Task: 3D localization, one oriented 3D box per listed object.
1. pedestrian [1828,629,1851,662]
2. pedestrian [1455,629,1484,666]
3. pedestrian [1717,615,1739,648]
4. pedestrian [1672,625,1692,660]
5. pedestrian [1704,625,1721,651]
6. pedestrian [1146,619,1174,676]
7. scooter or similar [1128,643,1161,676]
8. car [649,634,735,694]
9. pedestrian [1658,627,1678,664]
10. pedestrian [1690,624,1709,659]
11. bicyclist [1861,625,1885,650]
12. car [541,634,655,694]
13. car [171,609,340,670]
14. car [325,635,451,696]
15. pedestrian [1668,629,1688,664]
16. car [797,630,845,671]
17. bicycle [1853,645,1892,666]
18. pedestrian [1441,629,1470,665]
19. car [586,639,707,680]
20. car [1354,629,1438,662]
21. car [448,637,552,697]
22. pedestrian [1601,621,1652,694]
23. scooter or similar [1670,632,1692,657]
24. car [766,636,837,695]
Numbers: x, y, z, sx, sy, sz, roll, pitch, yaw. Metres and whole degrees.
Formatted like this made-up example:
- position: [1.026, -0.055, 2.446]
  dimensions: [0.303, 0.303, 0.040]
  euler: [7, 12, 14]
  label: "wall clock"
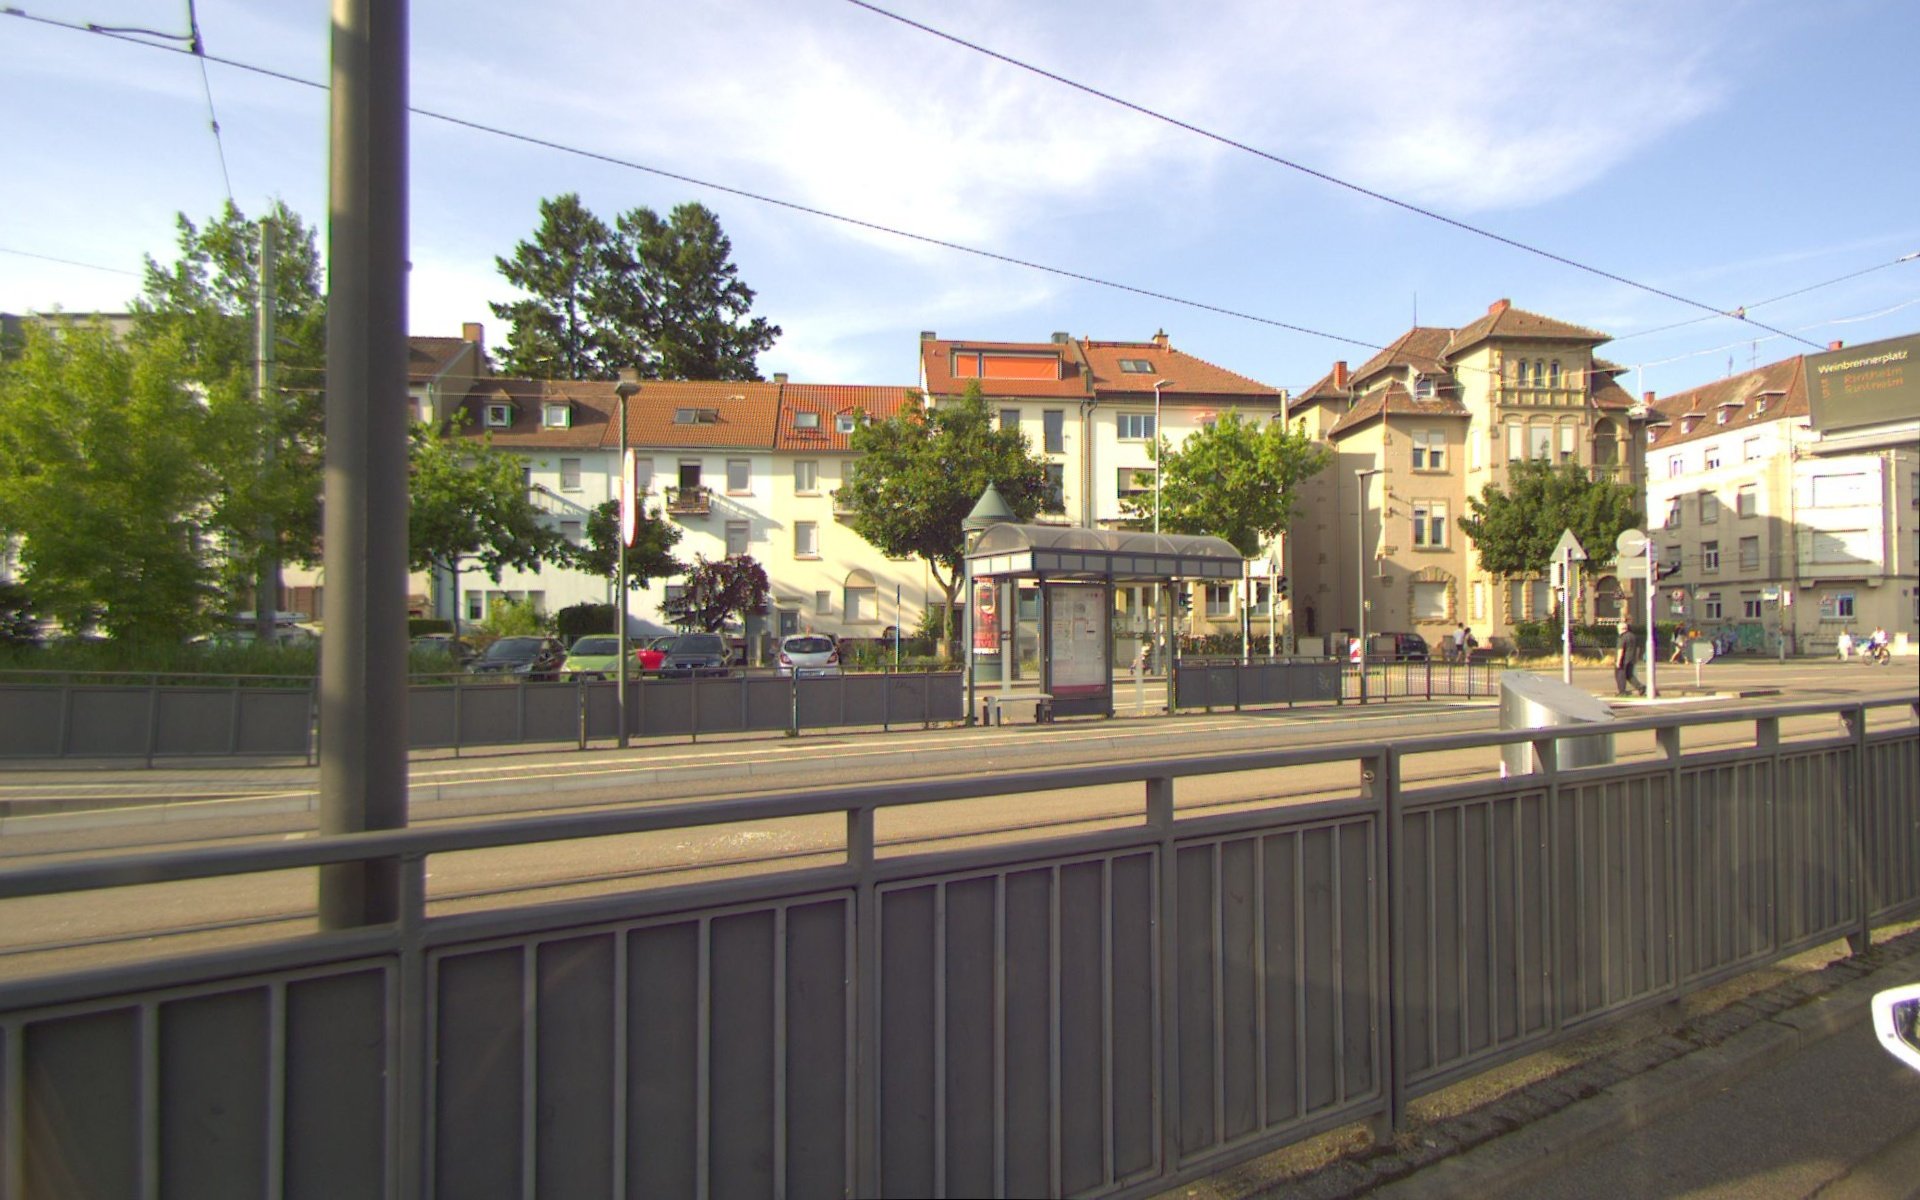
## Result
- position: [42.776, 2.210, 48.830]
  dimensions: [0.702, 1.561, 0.626]
  euler: [1, -2, -30]
  label: "pedestrian"
- position: [21.841, 2.034, 43.046]
  dimensions: [0.768, 1.572, 0.831]
  euler: [0, -2, -8]
  label: "pedestrian"
- position: [48.643, 1.997, 63.647]
  dimensions: [0.773, 2.040, 0.775]
  euler: [0, -2, -15]
  label: "pedestrian"
- position: [31.781, 1.875, 44.214]
  dimensions: [0.540, 1.520, 0.437]
  euler: [0, -2, -15]
  label: "pedestrian"
- position: [47.634, 2.411, 63.600]
  dimensions: [0.576, 1.682, 0.620]
  euler: [0, -2, -14]
  label: "pedestrian"
- position: [6.295, 1.503, 31.663]
  dimensions: [0.541, 1.769, 0.759]
  euler: [-2, -2, 42]
  label: "pedestrian"
- position: [5.699, 1.822, 30.988]
  dimensions: [0.550, 1.001, 1.018]
  euler: [-2, -2, 41]
  label: "scooter or similar"
- position: [-7.185, 1.679, 27.291]
  dimensions: [1.815, 1.505, 3.995]
  euler: [0, -2, -9]
  label: "car"
- position: [31.587, 2.026, 44.799]
  dimensions: [0.601, 1.647, 0.506]
  euler: [1, -2, -29]
  label: "pedestrian"
- position: [32.965, 1.848, 44.753]
  dimensions: [0.382, 1.520, 0.535]
  euler: [0, -2, -15]
  label: "pedestrian"
- position: [38.701, 1.603, 42.585]
  dimensions: [0.669, 1.058, 0.512]
  euler: [0, -2, -21]
  label: "bicyclist"
- position: [-9.713, 1.684, 27.270]
  dimensions: [1.813, 1.505, 3.999]
  euler: [0, -2, -3]
  label: "car"
- position: [-18.666, 1.056, 26.853]
  dimensions: [1.813, 1.505, 3.999]
  euler: [0, -2, -3]
  label: "car"
- position: [-14.421, 1.609, 25.580]
  dimensions: [1.968, 1.416, 3.985]
  euler: [0, -2, -18]
  label: "car"
- position: [31.248, 2.008, 43.729]
  dimensions: [0.540, 1.520, 0.437]
  euler: [0, -2, -15]
  label: "pedestrian"
- position: [-6.074, 2.183, 44.193]
  dimensions: [1.962, 1.684, 3.997]
  euler: [0, -2, -6]
  label: "car"
- position: [38.667, 2.339, 42.558]
  dimensions: [1.661, 0.845, 0.525]
  euler: [1, -2, -22]
  label: "bicycle"
- position: [21.666, 2.053, 43.942]
  dimensions: [0.768, 1.572, 0.831]
  euler: [0, -2, -8]
  label: "pedestrian"
- position: [-11.242, 2.120, 36.234]
  dimensions: [3.927, 1.416, 1.836]
  euler: [0, -2, -9]
  label: "car"
- position: [20.354, 2.115, 47.114]
  dimensions: [1.732, 1.327, 4.111]
  euler: [1, 0, -7]
  label: "car"
- position: [-11.900, 1.680, 26.240]
  dimensions: [1.968, 1.416, 3.985]
  euler: [0, -2, -18]
  label: "car"
- position: [15.607, 1.340, 23.547]
  dimensions: [0.778, 1.667, 0.757]
  euler: [-1, -2, 16]
  label: "pedestrian"
- position: [32.275, 1.996, 44.975]
  dimensions: [0.675, 1.093, 0.541]
  euler: [1, 0, -30]
  label: "scooter or similar"
- position: [-4.365, 1.757, 27.811]
  dimensions: [1.815, 1.505, 3.995]
  euler: [0, -2, -9]
  label: "car"
